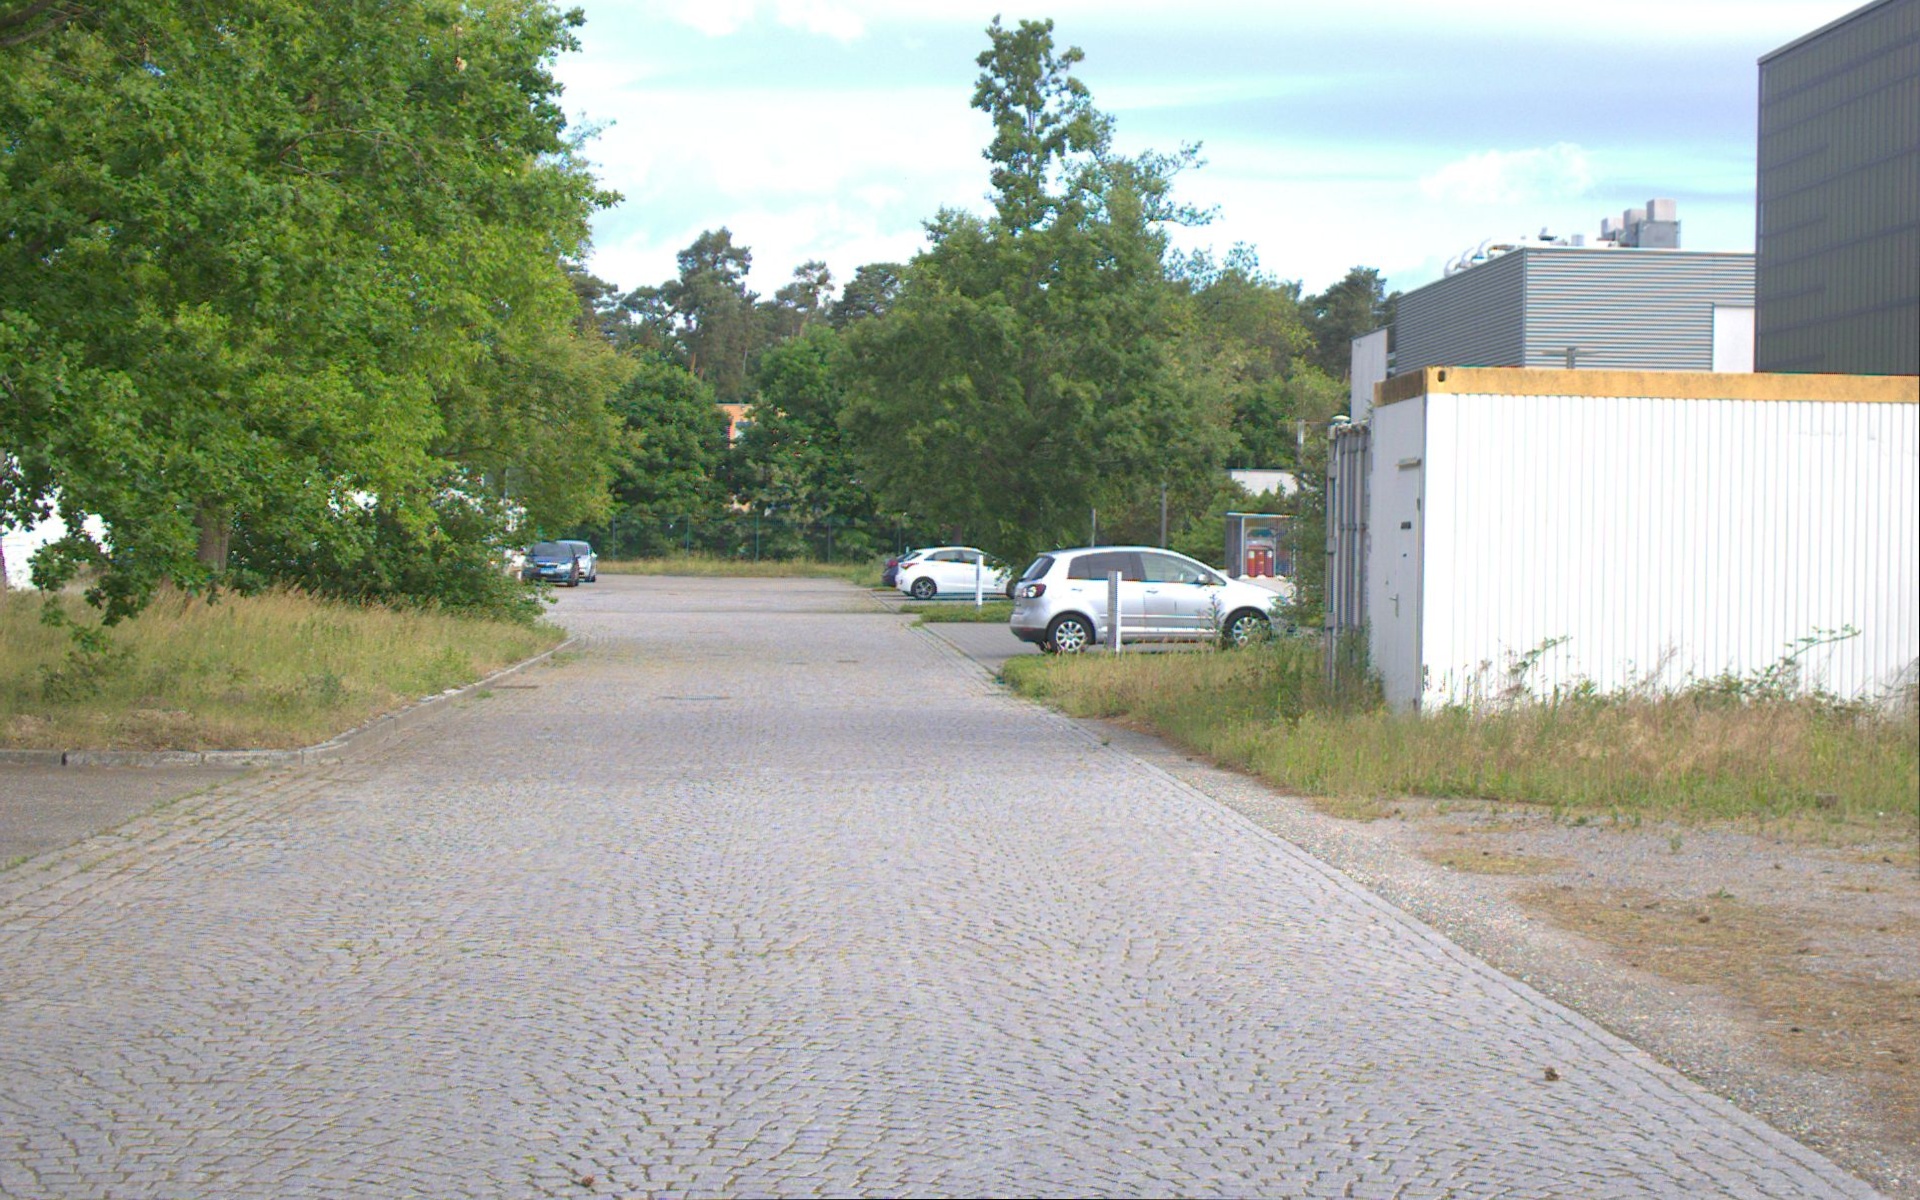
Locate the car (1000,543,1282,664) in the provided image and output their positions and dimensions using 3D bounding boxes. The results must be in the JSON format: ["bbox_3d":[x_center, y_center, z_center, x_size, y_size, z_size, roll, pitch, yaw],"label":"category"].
[{"bbox_3d":[2.608,0.043,50.085,3.849,1.649,1.686,1,1,-6],"label":"car"}]

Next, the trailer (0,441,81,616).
[{"bbox_3d":[-18.415,-1.305,61.707,3.158,3.057,8.785,1,1,-1],"label":"trailer"}]

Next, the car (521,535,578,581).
[{"bbox_3d":[-13.662,-1.407,114.559,1.734,1.464,4.046,1,1,-6],"label":"car"}]

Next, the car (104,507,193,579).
[{"bbox_3d":[-24.045,-1.689,102.003,1.925,2.040,4.601,1,1,-6],"label":"car"}]

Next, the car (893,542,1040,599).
[{"bbox_3d":[0.165,-0.836,96.172,4.025,1.496,1.548,1,1,-2],"label":"car"}]
